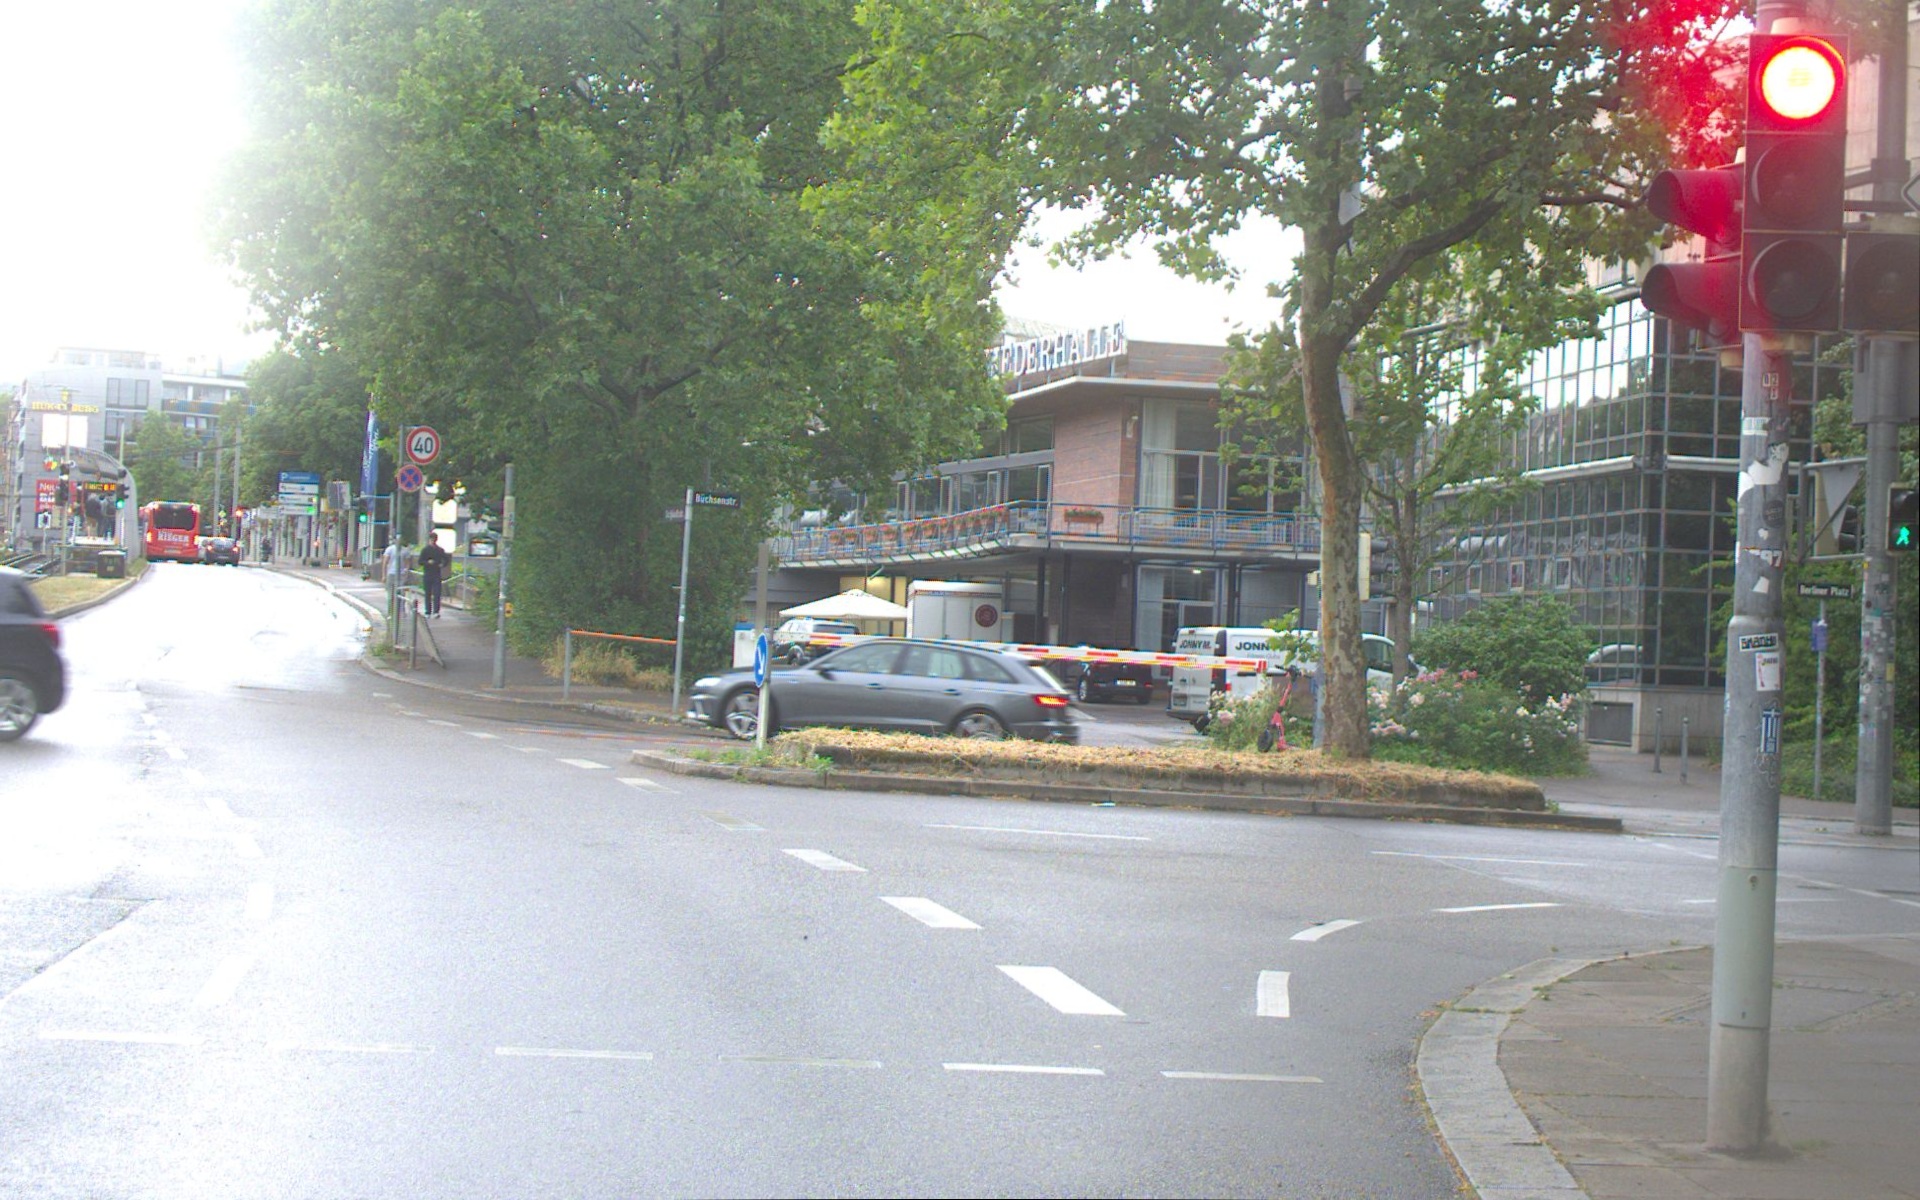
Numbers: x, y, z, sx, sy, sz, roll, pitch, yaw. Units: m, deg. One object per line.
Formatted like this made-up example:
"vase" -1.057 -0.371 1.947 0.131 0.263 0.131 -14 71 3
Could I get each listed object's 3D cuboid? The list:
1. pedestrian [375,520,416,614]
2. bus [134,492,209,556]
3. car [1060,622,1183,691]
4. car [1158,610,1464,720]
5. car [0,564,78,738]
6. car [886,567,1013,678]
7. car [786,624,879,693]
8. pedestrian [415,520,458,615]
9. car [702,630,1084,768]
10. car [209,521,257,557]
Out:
"pedestrian" -12.116 -0.711 73.845 0.814 2.007 1.077 1 0 -8
"bus" -40.483 -3.852 176.417 3.589 3.160 10.423 1 1 -13
"car" 4.164 1.440 89.257 2.019 1.546 4.351 3 1 -13
"car" 6.368 1.183 62.204 5.198 1.725 1.875 3 1 -25
"car" -9.250 0.331 27.626 3.858 1.352 1.633 3 1 -28
"car" -0.341 0.548 91.485 2.731 2.686 6.923 3 1 -5
"car" -3.232 1.462 87.948 2.019 1.546 4.350 3 1 2
"pedestrian" -11.263 -0.700 73.963 0.874 2.007 1.077 1 0 -8
"car" -0.780 1.177 41.838 4.337 1.514 1.999 1 1 9
"car" -38.391 -3.198 181.399 2.362 1.810 5.185 1 1 -13
